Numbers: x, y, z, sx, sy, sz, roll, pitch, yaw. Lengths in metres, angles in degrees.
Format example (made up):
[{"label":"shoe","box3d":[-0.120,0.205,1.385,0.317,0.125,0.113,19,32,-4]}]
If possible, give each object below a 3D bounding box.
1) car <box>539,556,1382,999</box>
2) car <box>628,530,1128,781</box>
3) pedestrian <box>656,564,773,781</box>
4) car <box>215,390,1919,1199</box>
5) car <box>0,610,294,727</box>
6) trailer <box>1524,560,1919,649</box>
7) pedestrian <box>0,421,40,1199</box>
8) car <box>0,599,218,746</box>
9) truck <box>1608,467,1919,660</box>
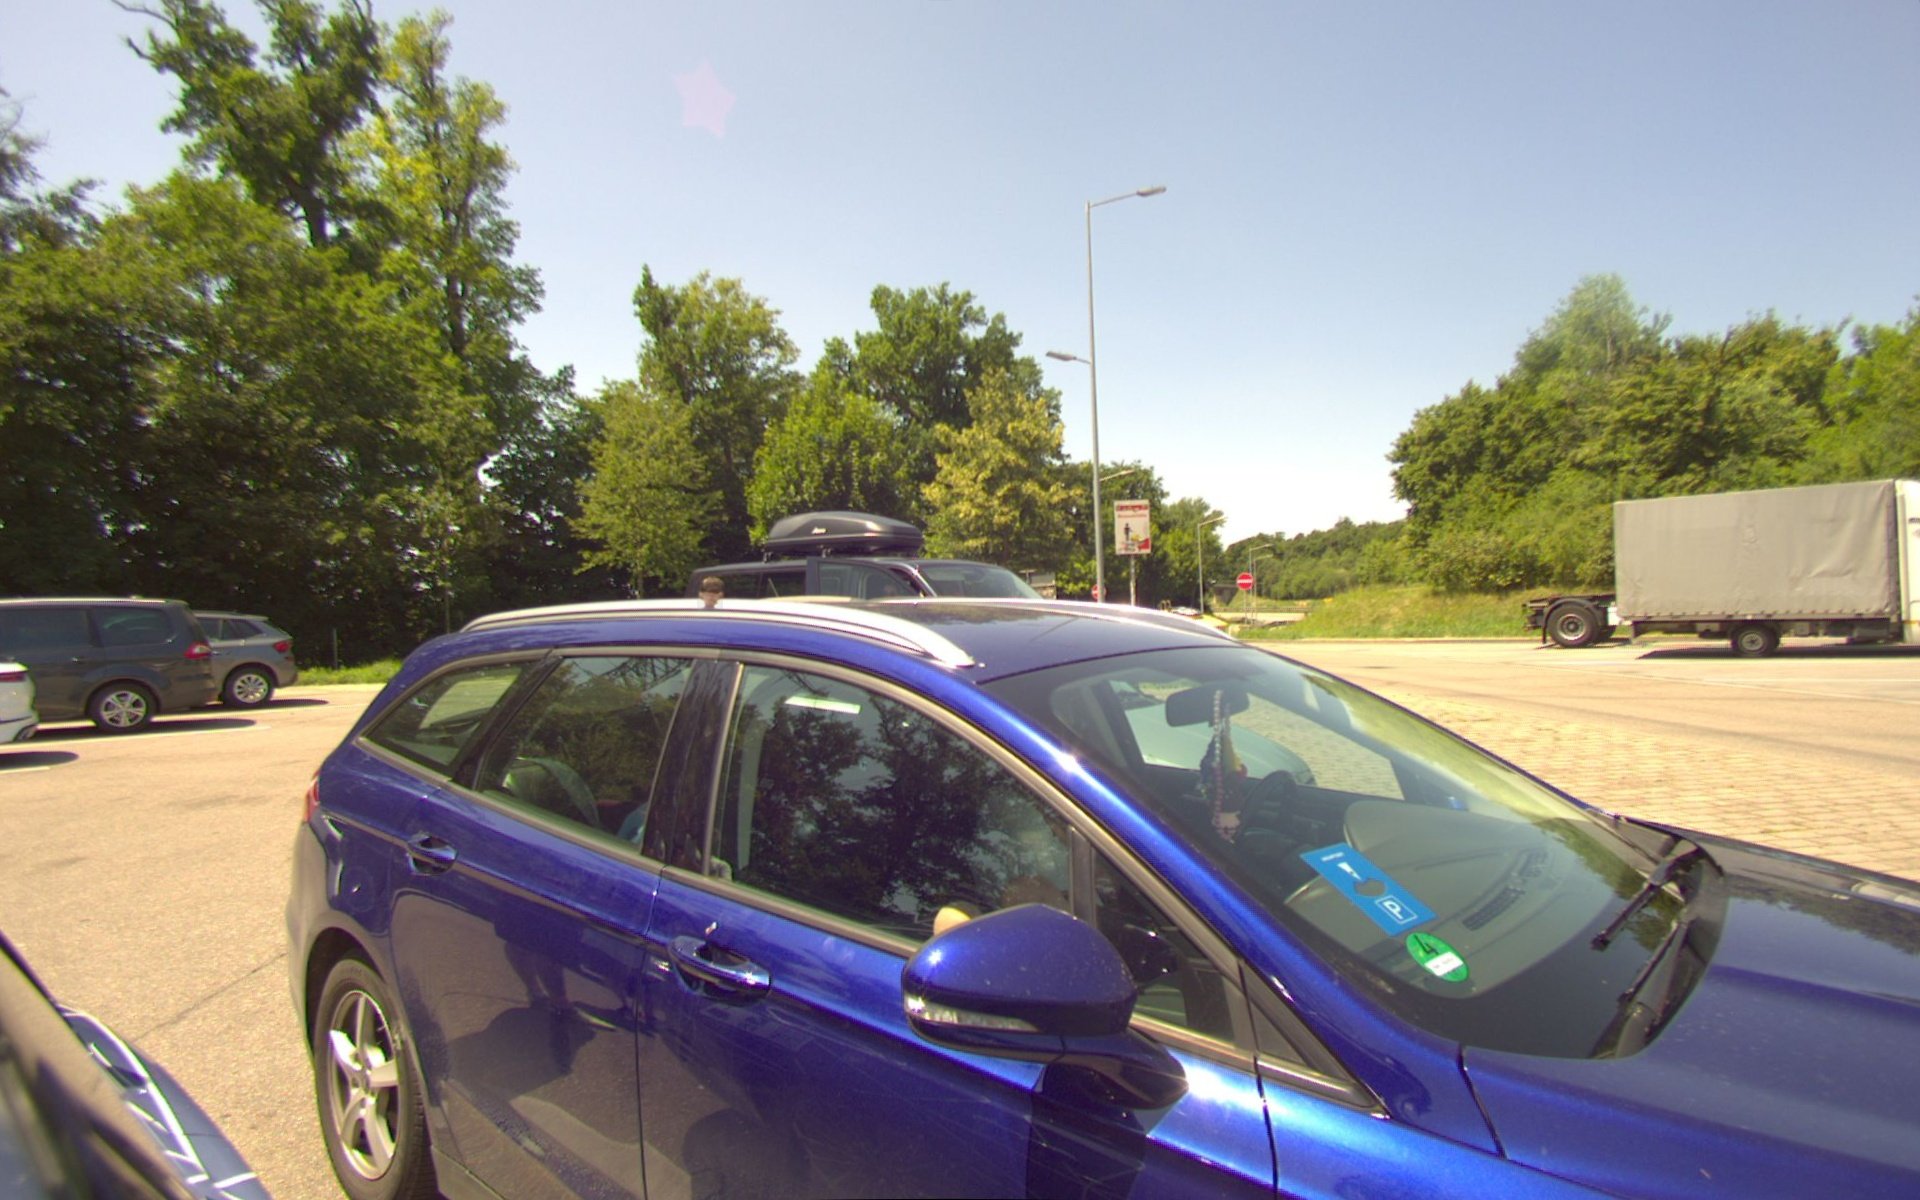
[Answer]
[{"label":"car","box3d":[-0.326,0.669,5.602,4.569,1.517,1.735,-3,0,40]},{"label":"car","box3d":[-0.898,0.498,9.651,4.558,1.912,1.740,-3,0,32]},{"label":"pedestrian","box3d":[-2.086,0.596,8.692,0.746,1.767,0.784,-1,0,6]},{"label":"car","box3d":[0.230,0.634,2.066,4.569,1.482,1.735,-3,0,40]},{"label":"car","box3d":[-12.630,0.970,15.653,3.767,1.572,1.654,-1,0,-38]},{"label":"trailer","box3d":[17.697,0.157,23.105,8.098,1.638,2.187,-4,-1,41]},{"label":"pedestrian","box3d":[-2.731,0.521,2.234,0.905,1.919,0.816,-1,0,-33]},{"label":"car","box3d":[-11.637,0.866,12.646,3.767,1.708,1.654,-1,0,-38]},{"label":"truck","box3d":[16.774,-0.648,19.007,7.274,3.269,2.678,-4,-1,42]}]
